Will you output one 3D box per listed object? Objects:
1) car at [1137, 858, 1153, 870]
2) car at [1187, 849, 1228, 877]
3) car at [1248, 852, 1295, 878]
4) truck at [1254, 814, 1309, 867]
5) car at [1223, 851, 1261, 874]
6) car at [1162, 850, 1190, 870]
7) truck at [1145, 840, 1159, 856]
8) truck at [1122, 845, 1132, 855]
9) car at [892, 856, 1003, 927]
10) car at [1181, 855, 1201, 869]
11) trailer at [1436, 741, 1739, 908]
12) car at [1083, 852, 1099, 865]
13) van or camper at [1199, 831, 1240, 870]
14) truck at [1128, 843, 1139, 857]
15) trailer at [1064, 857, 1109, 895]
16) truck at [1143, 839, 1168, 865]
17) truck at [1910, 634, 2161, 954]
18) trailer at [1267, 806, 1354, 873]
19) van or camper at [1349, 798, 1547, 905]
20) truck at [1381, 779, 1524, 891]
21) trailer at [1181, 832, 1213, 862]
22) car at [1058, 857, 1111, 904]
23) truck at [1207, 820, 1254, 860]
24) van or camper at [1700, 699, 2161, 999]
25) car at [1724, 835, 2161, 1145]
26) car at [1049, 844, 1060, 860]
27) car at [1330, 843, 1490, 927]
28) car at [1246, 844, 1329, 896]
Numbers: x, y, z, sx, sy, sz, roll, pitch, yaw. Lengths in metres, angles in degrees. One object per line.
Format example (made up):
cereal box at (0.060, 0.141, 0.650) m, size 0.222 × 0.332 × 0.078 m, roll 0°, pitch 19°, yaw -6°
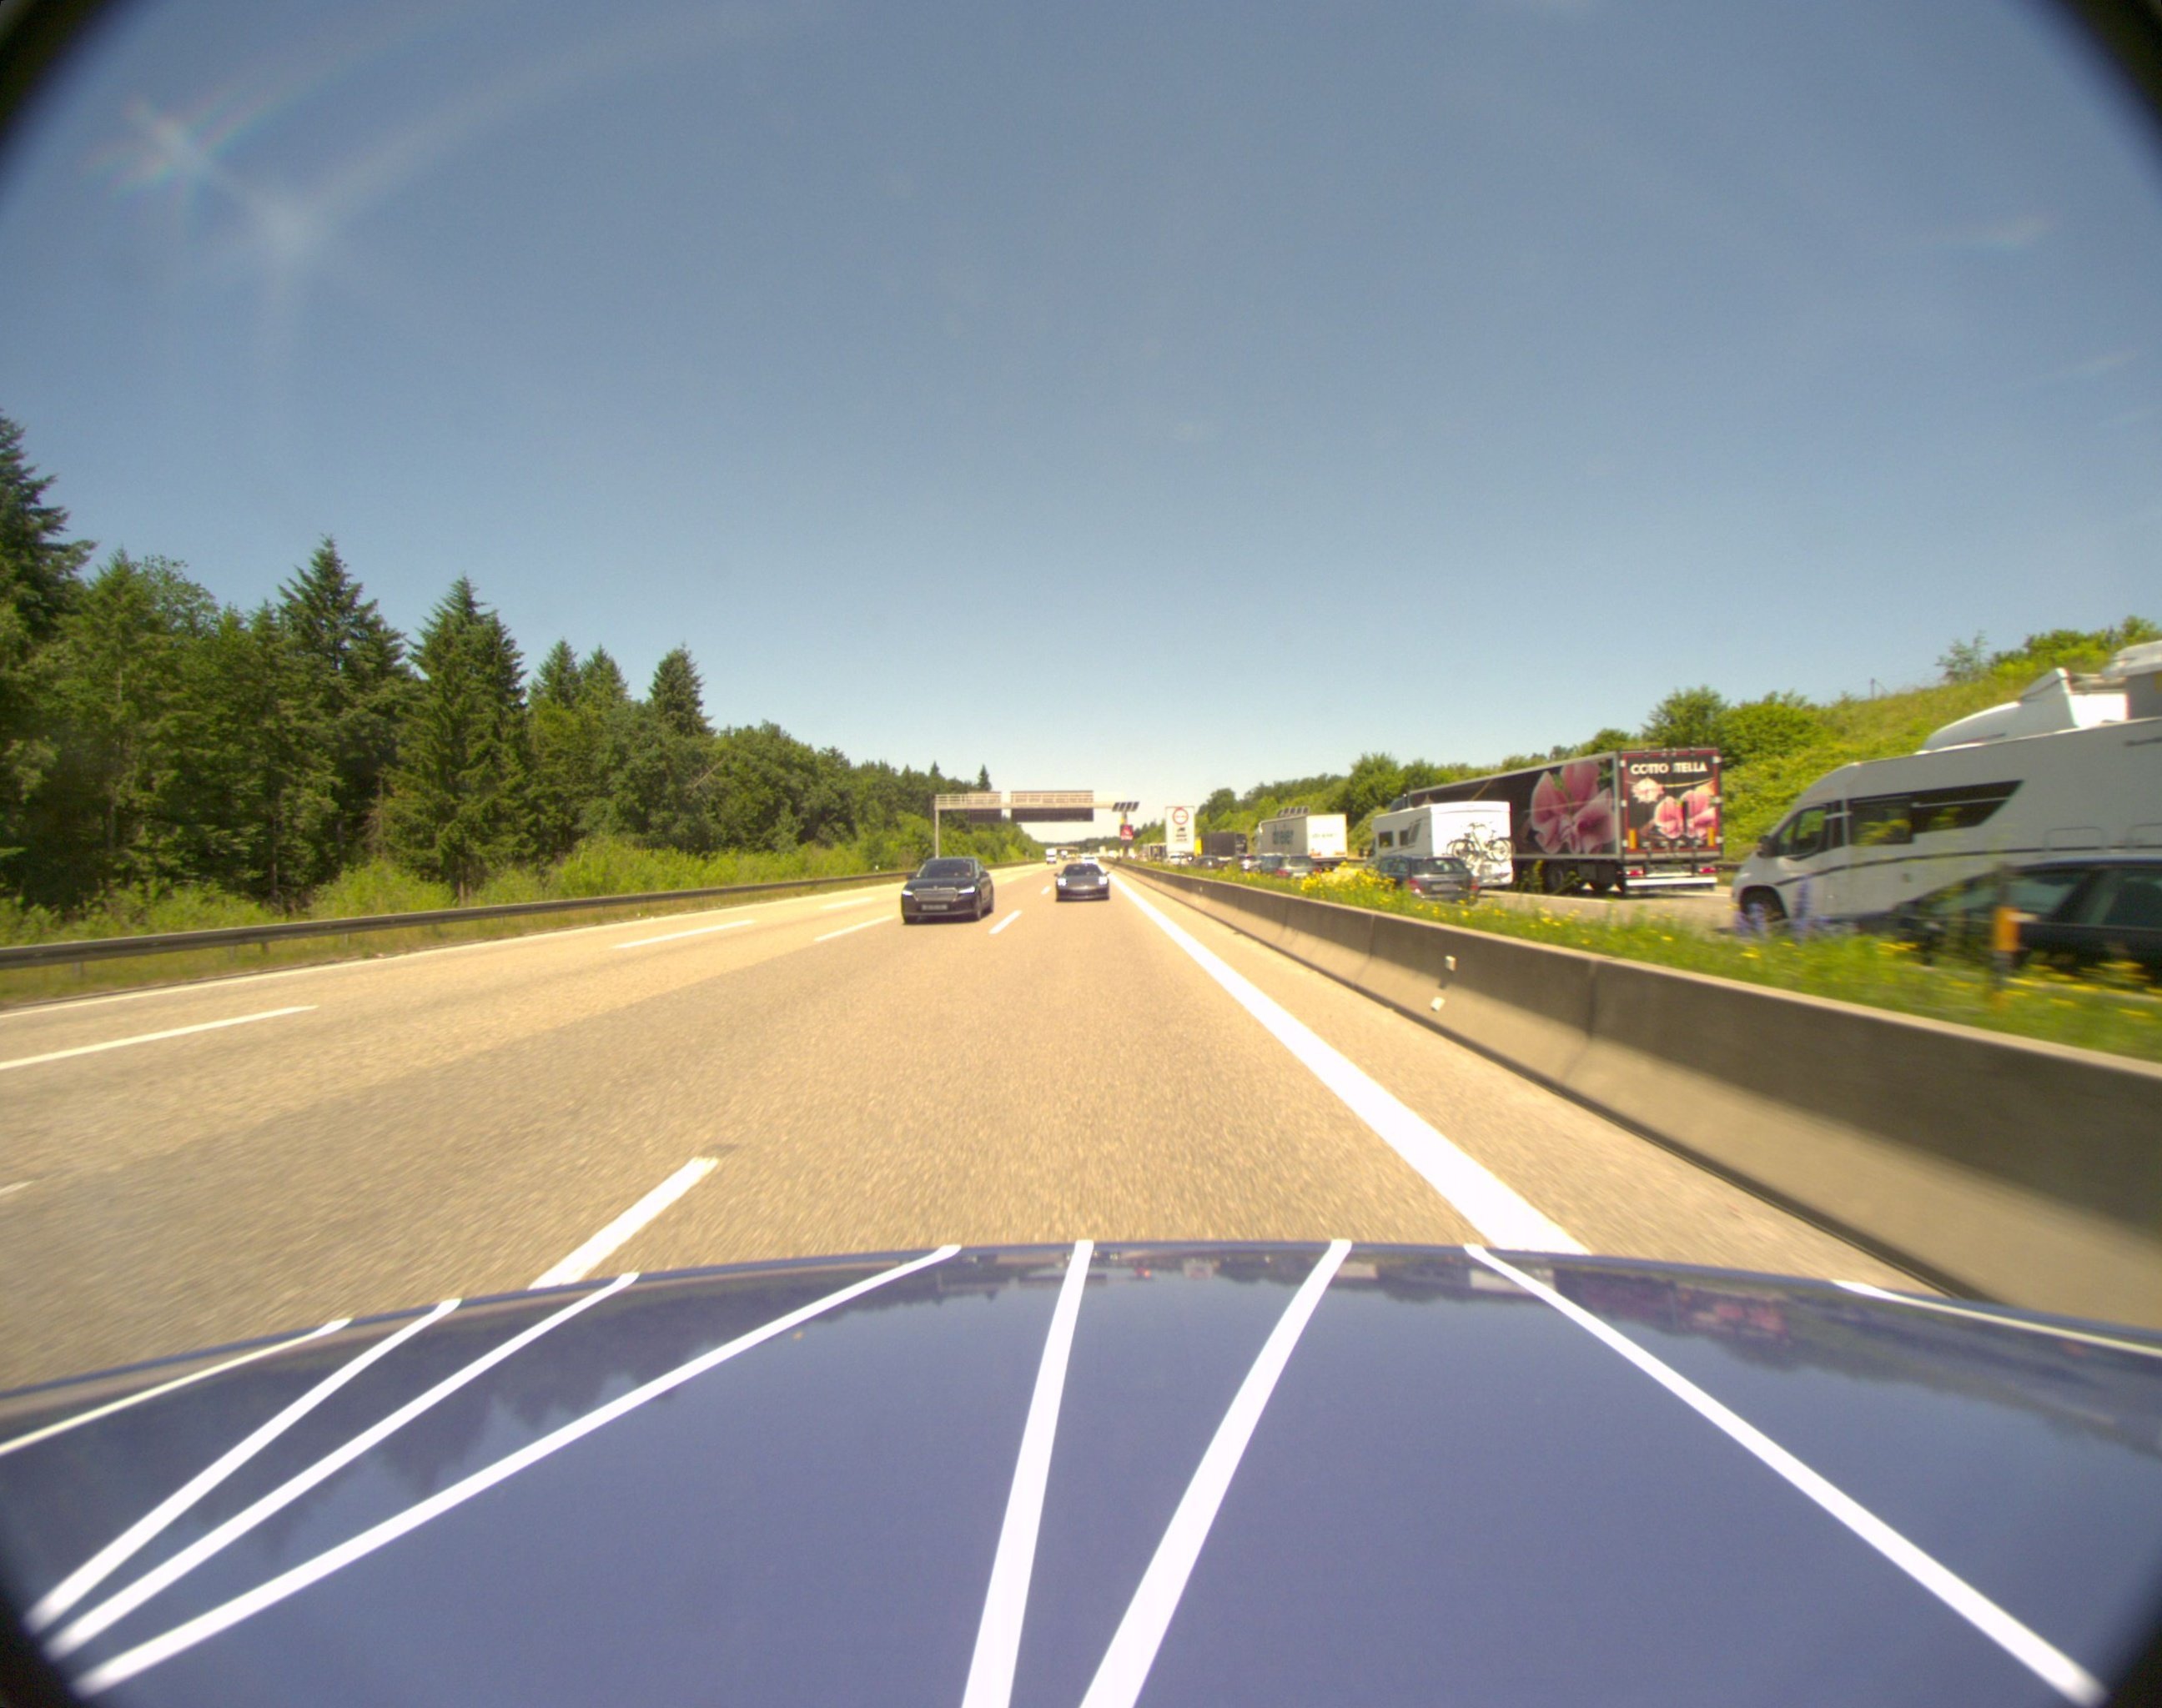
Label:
car at (9.269, 1.467, 110.528) m, size 1.816 × 1.504 × 5.029 m, roll -2°, pitch 1°, yaw 1°
car at (8.067, 0.548, 48.950) m, size 1.816 × 1.624 × 5.029 m, roll -2°, pitch 1°, yaw 1°
car at (12.144, 0.663, 48.808) m, size 1.816 × 1.534 × 4.998 m, roll -2°, pitch 1°, yaw 1°
truck at (16.478, -1.072, 62.848) m, size 2.788 × 4.090 × 7.029 m, roll -1°, pitch 1°, yaw 1°
car at (11.998, 0.618, 56.810) m, size 1.816 × 1.528 × 4.829 m, roll -2°, pitch 1°, yaw 1°
car at (8.224, 0.498, 66.190) m, size 1.816 × 1.624 × 5.029 m, roll -2°, pitch 1°, yaw 1°
truck at (17.193, -1.453, 185.227) m, size 2.632 × 3.875 × 8.954 m, roll -2°, pitch 1°, yaw 1°
truck at (14.082, -1.238, 232.614) m, size 2.575 × 2.828 × 6.752 m, roll -2°, pitch 1°, yaw 0°
car at (-3.374, 0.897, 20.118) m, size 1.989 × 1.609 × 4.458 m, roll -1°, pitch 0°, yaw 1°
car at (13.173, 0.935, 91.519) m, size 1.780 × 1.540 × 4.760 m, roll -2°, pitch 1°, yaw 1°
trailer at (15.601, -0.804, 24.987) m, size 2.796 × 4.216 × 10.791 m, roll -2°, pitch 1°, yaw 1°
car at (1.152, 0.509, 86.796) m, size 1.719 × 1.432 × 4.456 m, roll -1°, pitch 1°, yaw -1°
van or camper at (12.722, -0.352, 70.448) m, size 2.535 × 3.340 × 7.943 m, roll -2°, pitch 1°, yaw 2°
truck at (18.369, -1.345, 266.539) m, size 3.002 × 4.517 × 13.923 m, roll -2°, pitch 1°, yaw 1°
trailer at (0.231, 0.867, 30.741) m, size 1.689 × 1.399 × 3.046 m, roll -2°, pitch 0°, yaw 1°
truck at (8.454, -0.261, 86.732) m, size 2.125 × 2.825 × 6.212 m, roll -2°, pitch 1°, yaw 1°
truck at (15.304, -0.814, 9.662) m, size 2.808 × 4.104 × 6.140 m, roll -2°, pitch 1°, yaw 1°
trailer at (16.373, -0.999, 55.364) m, size 2.788 × 4.280 × 11.708 m, roll -1°, pitch 1°, yaw 0°
van or camper at (11.936, -0.107, 25.824) m, size 2.848 × 2.931 × 8.112 m, roll -2°, pitch 1°, yaw 1°
truck at (15.716, -0.765, 32.796) m, size 2.788 × 4.280 × 7.029 m, roll -1°, pitch 1°, yaw 1°
trailer at (16.607, -1.009, 109.508) m, size 2.657 × 4.120 × 11.854 m, roll -2°, pitch 1°, yaw 1°
car at (0.169, 0.883, 27.474) m, size 1.718 × 1.432 × 4.457 m, roll -2°, pitch 1°, yaw 1°
truck at (16.831, -1.552, 86.613) m, size 3.064 × 4.197 × 11.486 m, roll -2°, pitch 1°, yaw 1°
van or camper at (11.562, -0.101, 9.279) m, size 2.156 × 2.906 × 7.223 m, roll -2°, pitch 1°, yaw 1°
car at (7.056, 0.764, 4.816) m, size 1.816 × 1.720 × 4.934 m, roll -2°, pitch 1°, yaw 1°
car at (-5.882, -0.508, 170.868) m, size 2.303 × 3.317 × 7.620 m, roll -2°, pitch 1°, yaw -1°
car at (7.881, 0.644, 18.796) m, size 1.816 × 1.720 × 4.972 m, roll -2°, pitch 1°, yaw 1°
car at (8.003, 0.547, 29.999) m, size 1.816 × 1.799 × 5.543 m, roll -2°, pitch 1°, yaw 1°
